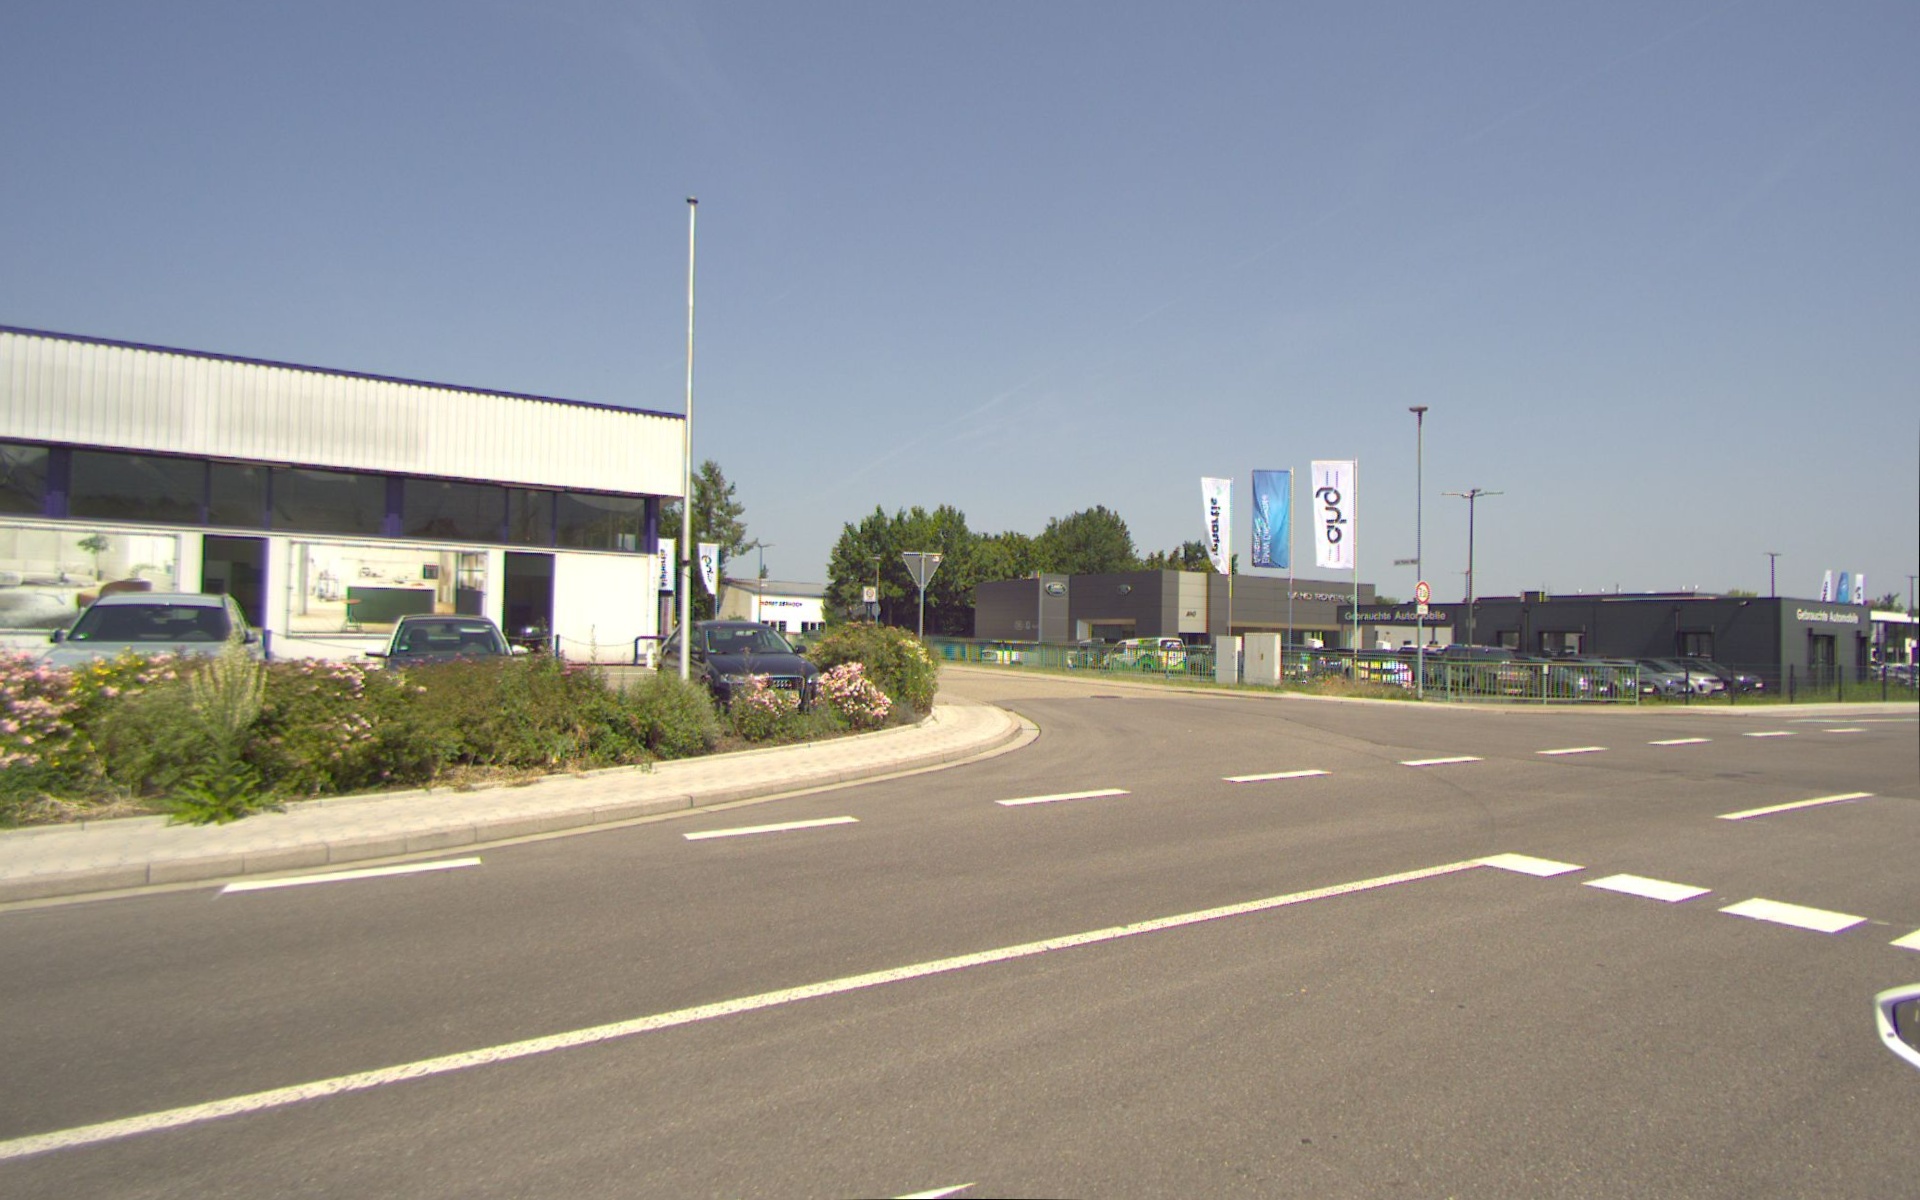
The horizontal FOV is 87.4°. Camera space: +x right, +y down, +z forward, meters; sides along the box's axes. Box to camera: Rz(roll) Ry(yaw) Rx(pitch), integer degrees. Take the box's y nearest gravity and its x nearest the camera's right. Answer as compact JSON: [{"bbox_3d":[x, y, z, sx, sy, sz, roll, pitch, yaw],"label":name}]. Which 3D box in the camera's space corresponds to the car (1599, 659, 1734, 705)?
[{"bbox_3d":[28.096,3.221,40.079,1.944,1.653,3.969,2,-3,-29],"label":"car"}]

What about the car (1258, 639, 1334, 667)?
[{"bbox_3d":[17.779,2.786,53.279,1.667,1.439,3.665,2,-2,-32],"label":"car"}]

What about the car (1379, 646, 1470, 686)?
[{"bbox_3d":[22.974,3.231,49.800,1.667,1.852,3.817,2,-2,-32],"label":"car"}]

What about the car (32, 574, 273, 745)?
[{"bbox_3d":[-9.432,0.674,12.073,1.814,1.669,4.199,2,-3,-33],"label":"car"}]

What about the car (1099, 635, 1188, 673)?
[{"bbox_3d":[8.942,2.603,49.154,1.945,1.757,4.281,2,-2,-32],"label":"car"}]

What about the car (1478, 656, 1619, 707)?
[{"bbox_3d":[21.089,2.873,36.144,1.865,1.653,3.966,2,-3,-31],"label":"car"}]

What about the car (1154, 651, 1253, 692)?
[{"bbox_3d":[10.499,3.055,43.590,1.955,1.686,3.966,2,-3,-31],"label":"car"}]

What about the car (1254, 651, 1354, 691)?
[{"bbox_3d":[15.610,3.169,45.731,1.955,1.686,3.966,2,-3,-31],"label":"car"}]

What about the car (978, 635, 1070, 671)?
[{"bbox_3d":[3.268,2.663,51.108,4.259,1.757,1.955,1,-2,-25],"label":"car"}]

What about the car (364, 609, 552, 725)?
[{"bbox_3d":[-7.011,0.865,13.790,1.814,1.332,4.199,2,-3,-33],"label":"car"}]

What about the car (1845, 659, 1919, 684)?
[{"bbox_3d":[59.245,4.527,64.001,1.795,1.514,3.966,2,-3,-31],"label":"car"}]

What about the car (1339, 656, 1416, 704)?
[{"bbox_3d":[15.545,2.927,37.593,1.888,1.582,4.512,1,-2,13],"label":"car"}]

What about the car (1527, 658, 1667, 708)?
[{"bbox_3d":[23.600,3.034,37.363,1.955,1.653,3.966,2,-3,-31],"label":"car"}]

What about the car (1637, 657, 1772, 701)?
[{"bbox_3d":[30.797,3.214,41.673,1.803,1.653,4.126,2,-3,-32],"label":"car"}]

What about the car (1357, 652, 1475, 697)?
[{"bbox_3d":[18.520,2.980,40.954,1.955,1.686,3.966,2,-3,-31],"label":"car"}]

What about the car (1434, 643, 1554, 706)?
[{"bbox_3d":[18.102,2.458,34.347,2.024,1.889,4.683,2,-2,7],"label":"car"}]

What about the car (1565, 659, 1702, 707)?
[{"bbox_3d":[25.901,3.150,38.740,1.955,1.653,3.966,2,-3,-31],"label":"car"}]

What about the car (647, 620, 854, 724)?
[{"bbox_3d":[-3.456,1.072,15.976,1.814,1.412,4.199,2,-3,-33],"label":"car"}]

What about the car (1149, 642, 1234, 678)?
[{"bbox_3d":[11.537,2.964,50.251,1.955,1.686,3.966,2,-3,-31],"label":"car"}]

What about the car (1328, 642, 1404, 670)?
[{"bbox_3d":[22.677,3.101,56.229,1.667,1.439,3.665,2,-2,-32],"label":"car"}]

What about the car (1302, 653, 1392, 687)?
[{"bbox_3d":[17.992,3.224,46.799,1.667,1.464,3.665,2,-2,-32],"label":"car"}]

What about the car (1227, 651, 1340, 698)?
[{"bbox_3d":[12.798,2.911,39.940,1.955,1.686,3.966,2,-3,-31],"label":"car"}]
